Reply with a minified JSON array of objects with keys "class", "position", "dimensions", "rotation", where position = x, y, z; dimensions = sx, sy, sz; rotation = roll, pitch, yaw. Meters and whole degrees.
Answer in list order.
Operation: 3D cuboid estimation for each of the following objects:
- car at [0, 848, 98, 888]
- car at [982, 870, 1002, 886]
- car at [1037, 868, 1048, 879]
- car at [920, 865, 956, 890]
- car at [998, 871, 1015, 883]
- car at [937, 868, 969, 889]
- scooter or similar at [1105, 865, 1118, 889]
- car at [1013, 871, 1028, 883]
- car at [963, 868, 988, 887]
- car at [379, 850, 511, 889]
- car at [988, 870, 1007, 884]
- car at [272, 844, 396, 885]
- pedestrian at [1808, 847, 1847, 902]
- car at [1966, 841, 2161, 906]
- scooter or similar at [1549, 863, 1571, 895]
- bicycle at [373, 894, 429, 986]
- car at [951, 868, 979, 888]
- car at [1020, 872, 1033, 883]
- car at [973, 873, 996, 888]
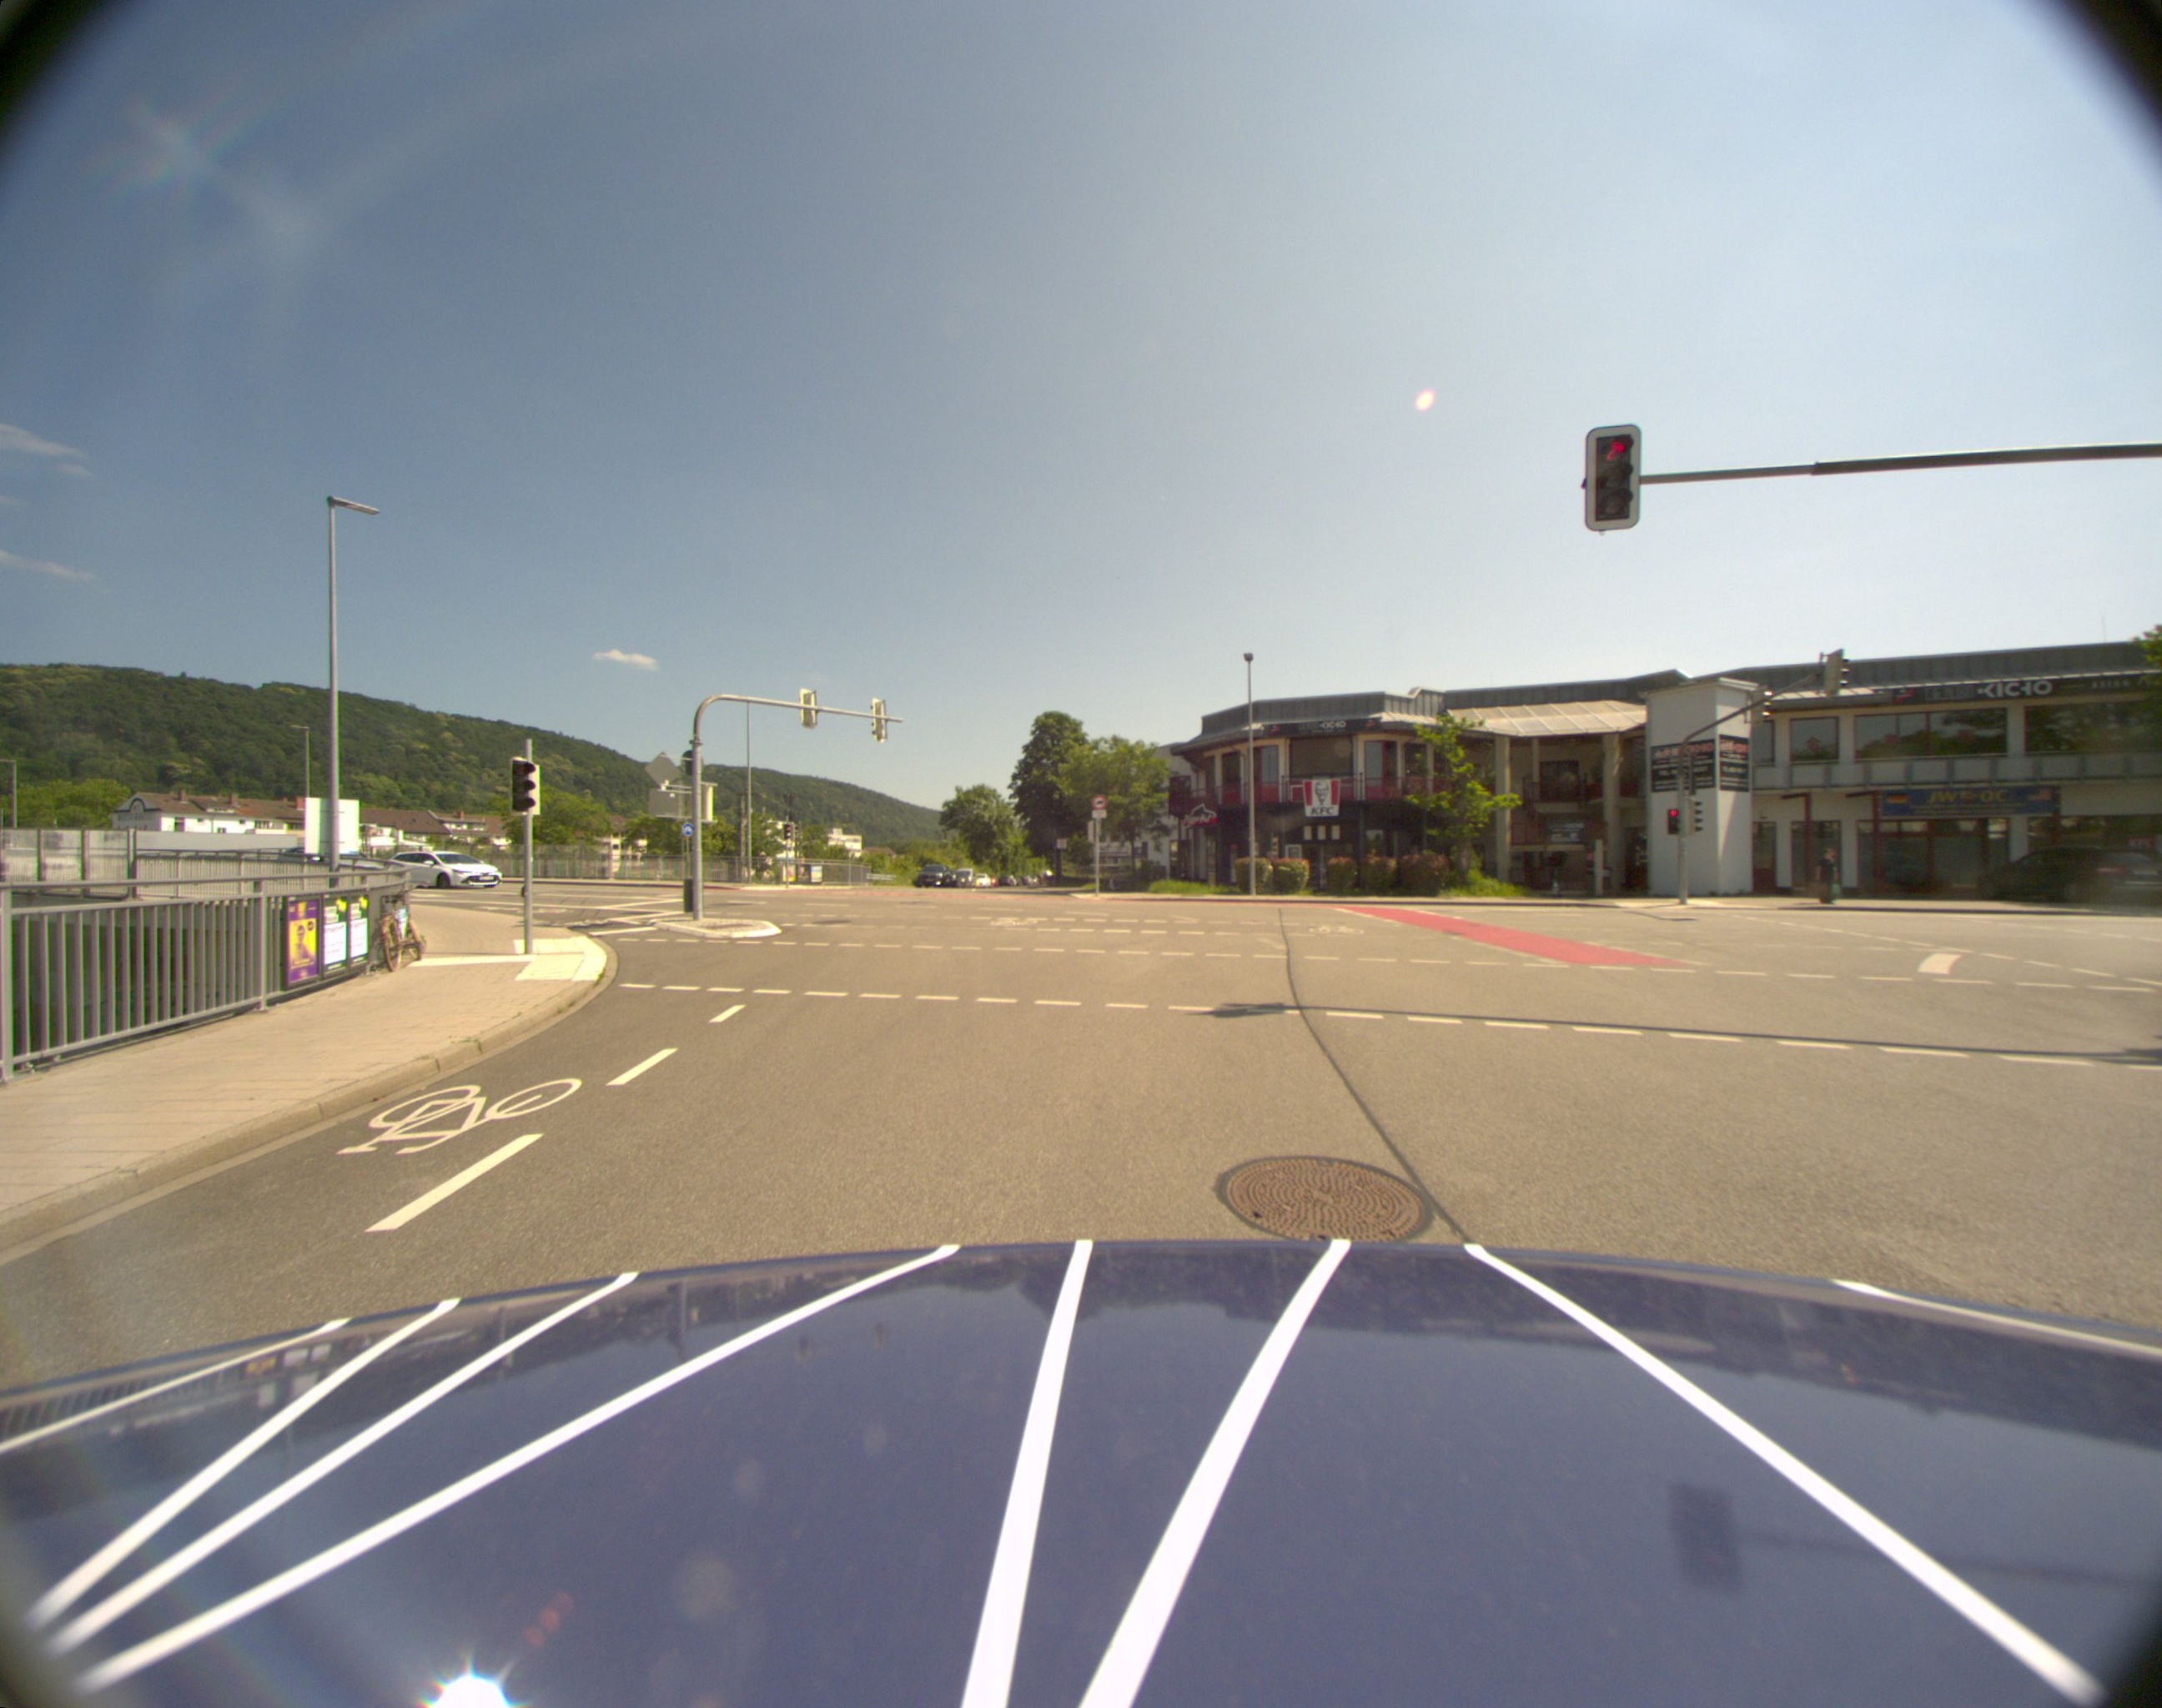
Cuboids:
[{"class":"car","position":[-46.524,0.613,33.691],"dimensions":[4.623,1.709,2.003],"rotation":[0,0,16]},{"class":"car","position":[-9.308,2.496,79.744],"dimensions":[1.672,1.524,4.000],"rotation":[0,0,0]},{"class":"car","position":[-6.623,3.312,131.412],"dimensions":[1.672,1.718,4.000],"rotation":[-4,0,0]},{"class":"car","position":[-9.703,1.563,51.969],"dimensions":[1.830,1.617,4.236],"rotation":[0,0,-2]},{"class":"car","position":[-9.529,2.951,97.497],"dimensions":[1.672,1.427,4.000],"rotation":[0,0,0]},{"class":"car","position":[-9.568,1.811,56.962],"dimensions":[1.672,1.524,4.000],"rotation":[0,0,0]},{"class":"scooter or similar","position":[1.472,1.117,36.848],"dimensions":[0.427,1.117,1.453],"rotation":[0,0,11]},{"class":"car","position":[-8.631,3.287,108.129],"dimensions":[1.672,1.524,4.000],"rotation":[-4,0,0]},{"class":"car","position":[-9.377,2.053,67.655],"dimensions":[1.672,1.625,4.000],"rotation":[0,0,0]},{"class":"car","position":[-24.523,0.579,29.322],"dimensions":[4.401,1.461,1.739],"rotation":[0,0,17]},{"class":"car","position":[-9.499,2.610,86.942],"dimensions":[1.672,1.427,4.000],"rotation":[0,0,0]},{"class":"car","position":[-30.990,0.417,31.526],"dimensions":[4.433,1.617,1.739],"rotation":[0,0,17]},{"class":"pedestrian","position":[22.784,0.626,23.201],"dimensions":[0.731,1.636,0.843],"rotation":[0,0,37]},{"class":"car","position":[31.056,0.562,24.003],"dimensions":[1.805,1.844,4.665],"rotation":[0,0,17]},{"class":"scooter or similar","position":[17.638,0.907,27.982],"dimensions":[0.499,1.117,1.507],"rotation":[0,0,25]},{"class":"bicycle","position":[-9.247,1.128,10.364],"dimensions":[0.298,1.094,1.616],"rotation":[0,0,-33]},{"class":"car","position":[-9.408,1.946,61.750],"dimensions":[1.672,1.524,4.000],"rotation":[0,0,0]},{"class":"car","position":[-8.253,3.550,114.791],"dimensions":[1.672,1.524,4.000],"rotation":[0,0,0]},{"class":"car","position":[-9.322,2.505,73.375],"dimensions":[1.672,1.309,4.000],"rotation":[0,0,0]}]
